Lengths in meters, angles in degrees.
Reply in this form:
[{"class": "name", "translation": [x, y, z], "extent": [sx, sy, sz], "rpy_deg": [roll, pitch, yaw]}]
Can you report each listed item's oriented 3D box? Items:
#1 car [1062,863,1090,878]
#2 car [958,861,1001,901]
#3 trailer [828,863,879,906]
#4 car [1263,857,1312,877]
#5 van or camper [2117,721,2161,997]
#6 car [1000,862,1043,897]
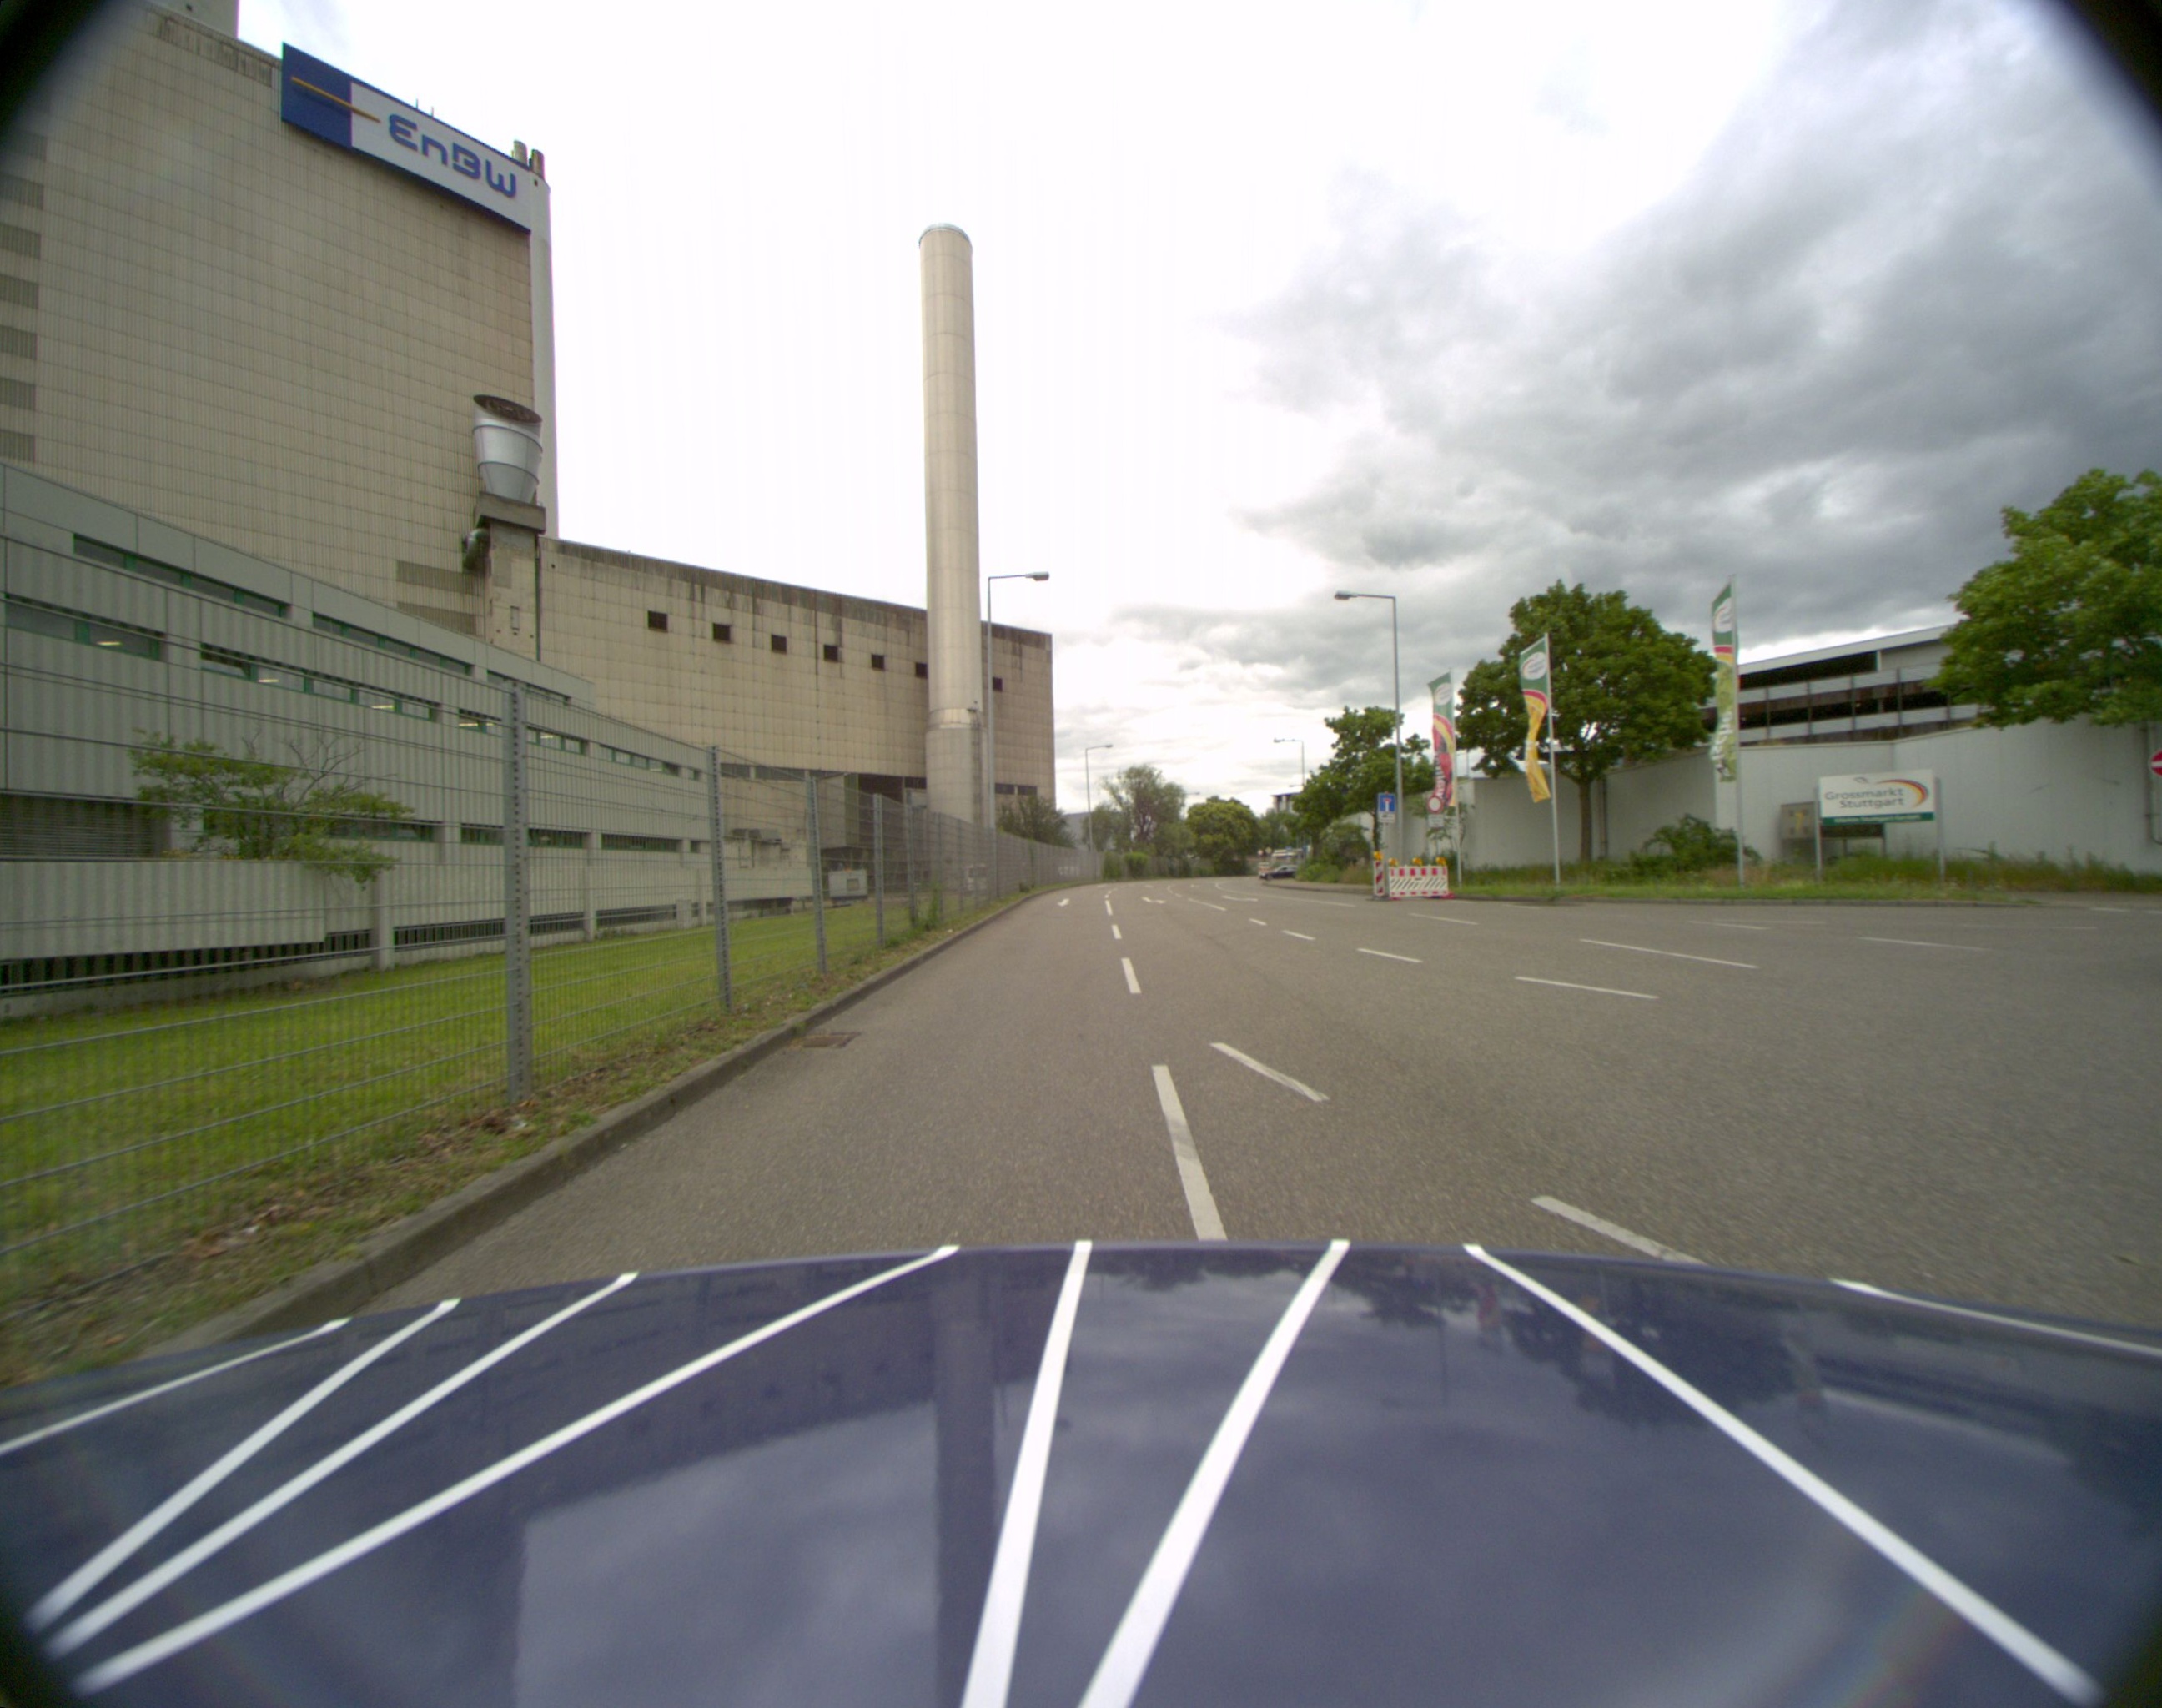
[{"class": "car", "translation": [-0.783, 2.764, 128.498], "extent": [1.995, 2.353, 5.850], "rpy_deg": [-3, -1, 30]}, {"class": "car", "translation": [-7.827, 2.125, 58.072], "extent": [2.429, 2.744, 5.450], "rpy_deg": [-2, -3, -16]}, {"class": "trailer", "translation": [-14.964, 1.977, 50.349], "extent": [2.665, 2.528, 6.428], "rpy_deg": [-2, -1, -13]}, {"class": "car", "translation": [20.866, 1.346, 76.947], "extent": [4.614, 1.799, 2.002], "rpy_deg": [-3, -1, 13]}, {"class": "van or camper", "translation": [13.093, -0.061, 6.721], "extent": [6.109, 2.542, 2.270], "rpy_deg": [-2, 1, -11]}, {"class": "car", "translation": [-4.729, 2.067, 59.908], "extent": [2.240, 2.531, 5.187], "rpy_deg": [-2, -3, -16]}]
